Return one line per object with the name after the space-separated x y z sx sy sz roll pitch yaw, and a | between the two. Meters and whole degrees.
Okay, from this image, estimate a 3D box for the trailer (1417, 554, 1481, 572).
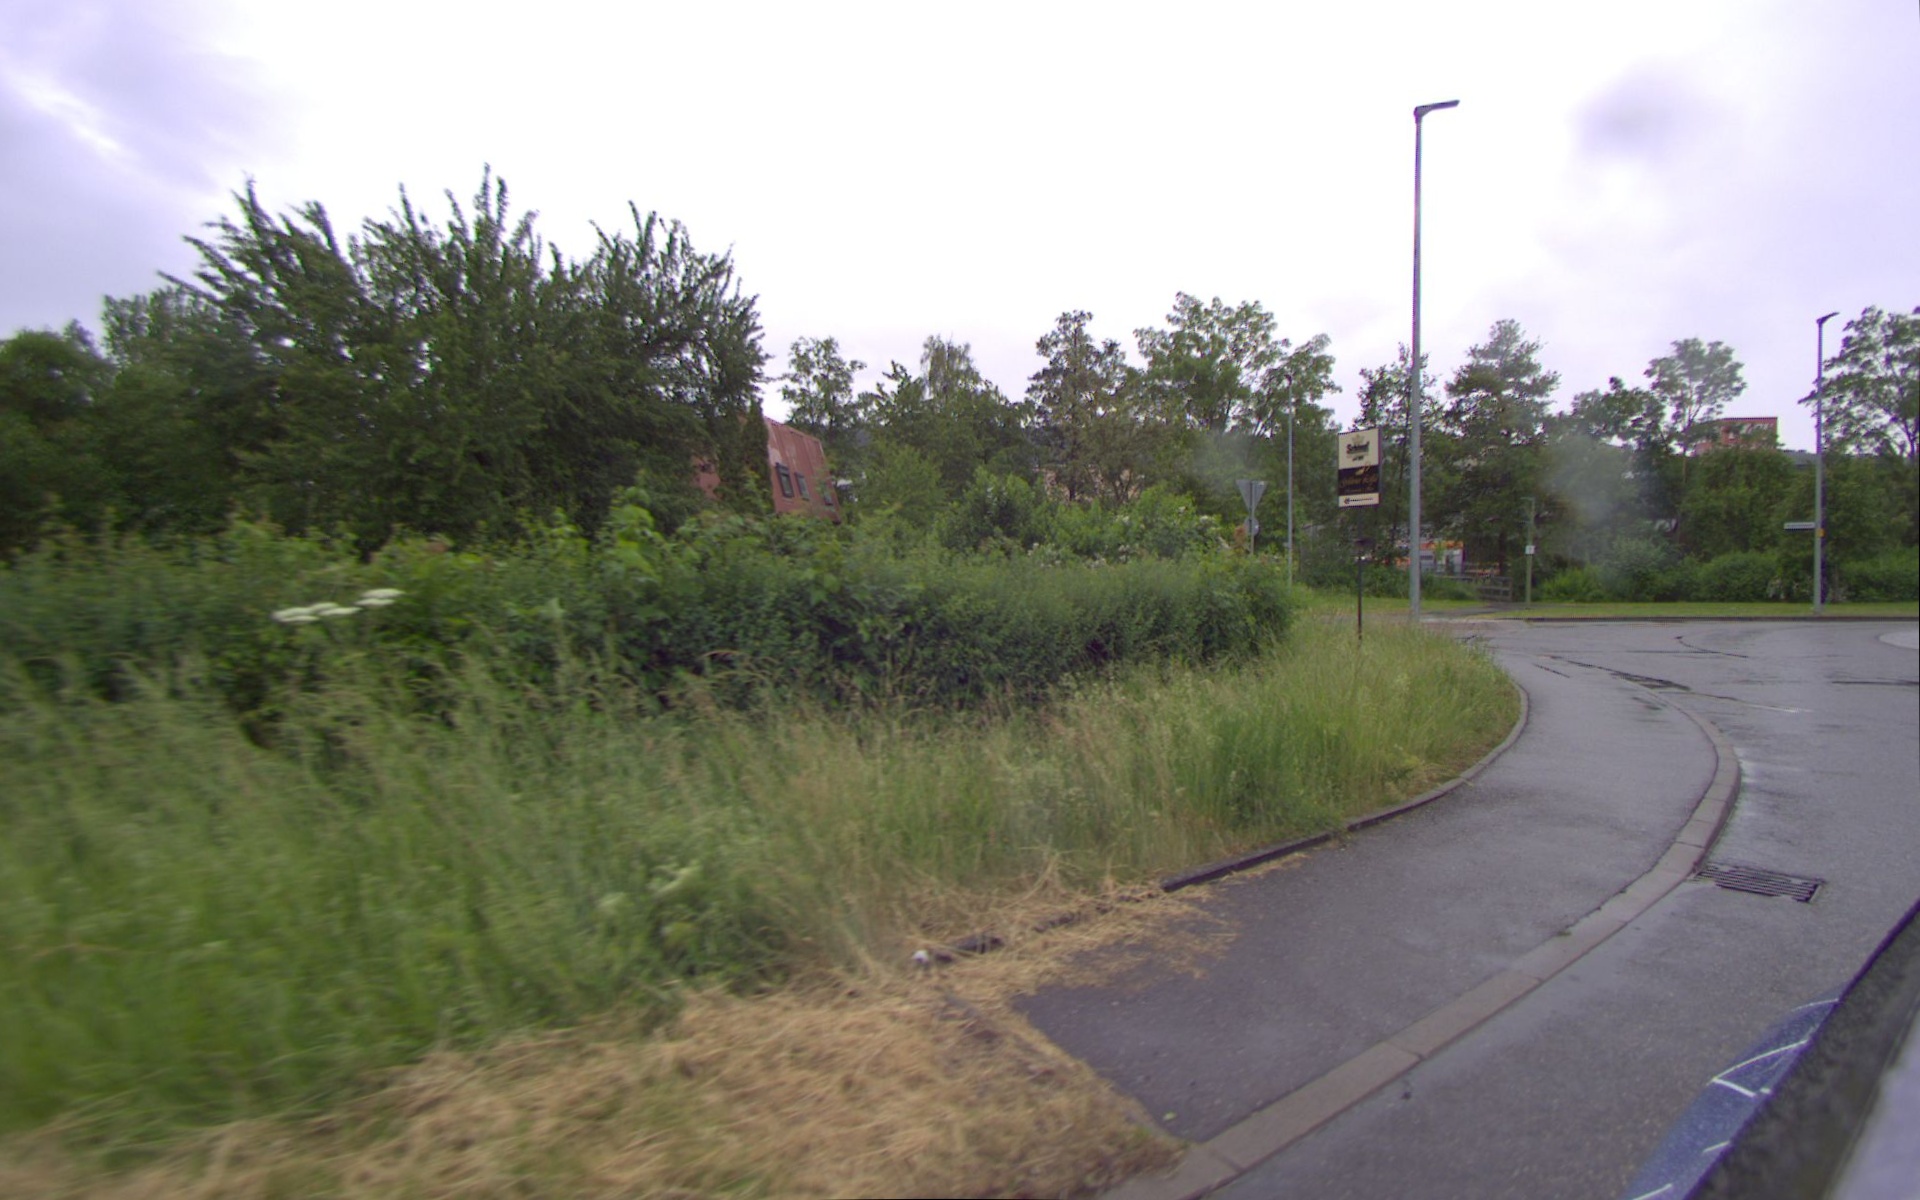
56.299 -4.290 116.554 6.572 2.038 2.554 1 3 27 | trailer
